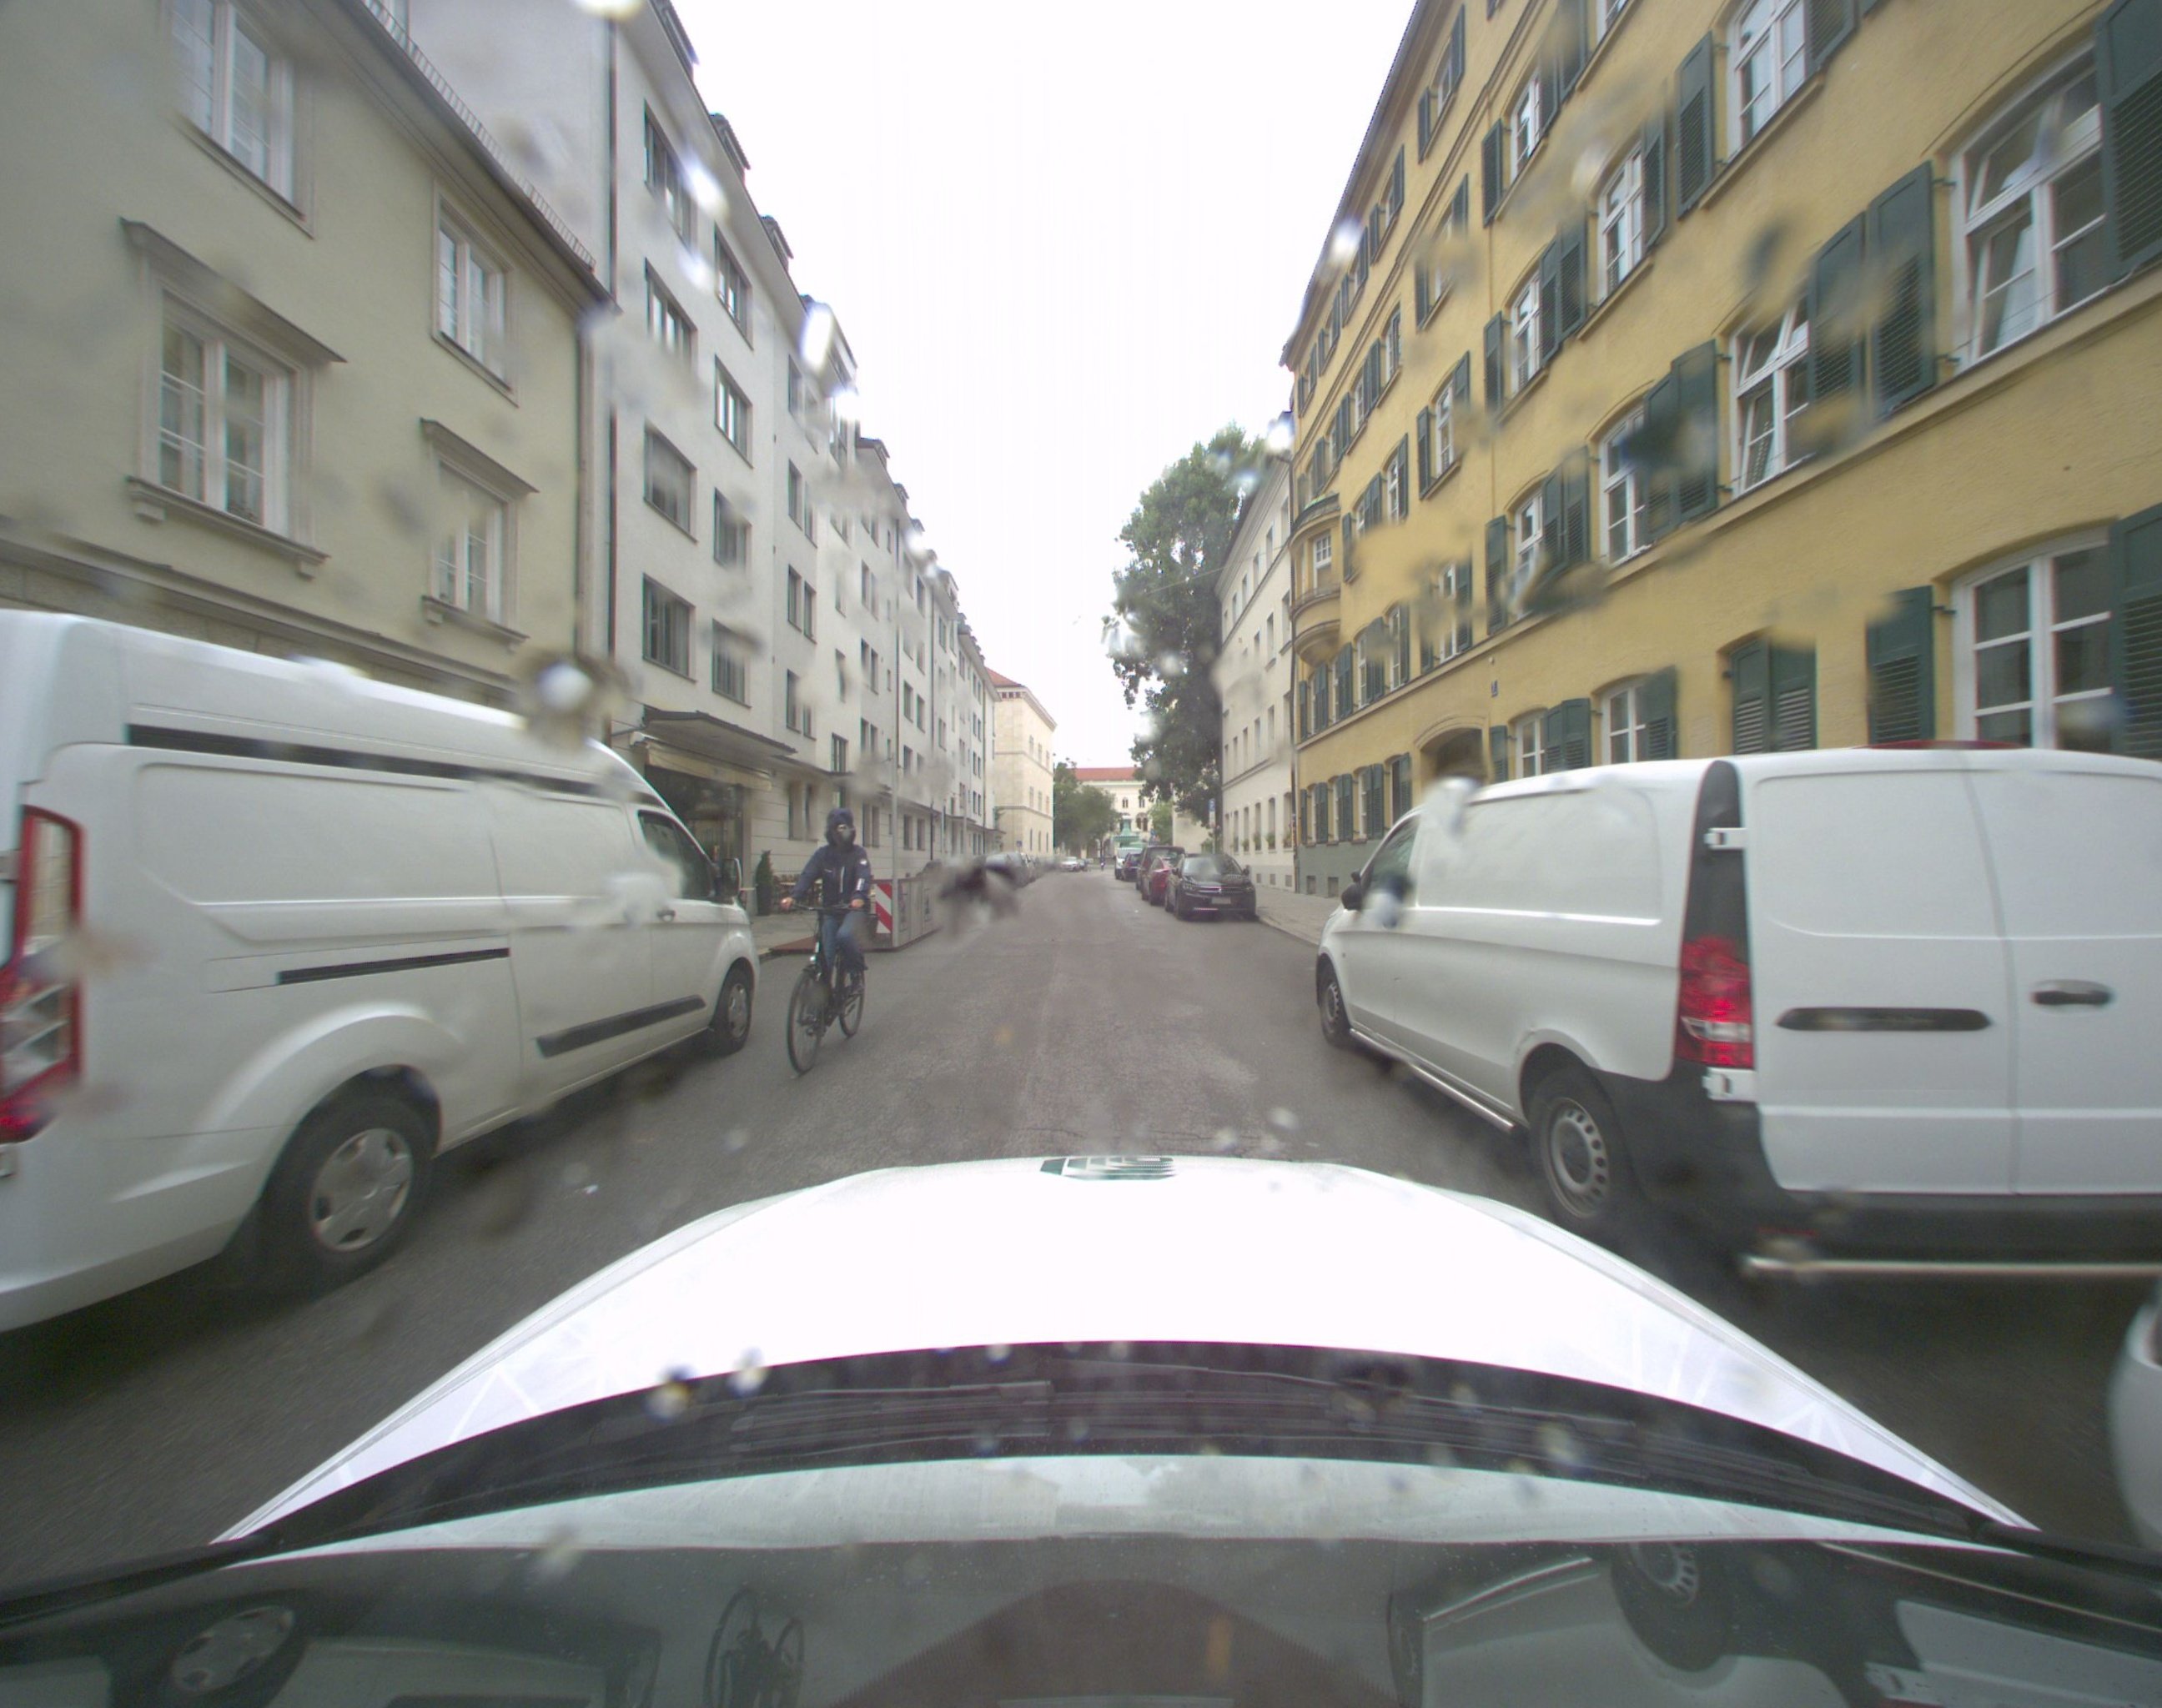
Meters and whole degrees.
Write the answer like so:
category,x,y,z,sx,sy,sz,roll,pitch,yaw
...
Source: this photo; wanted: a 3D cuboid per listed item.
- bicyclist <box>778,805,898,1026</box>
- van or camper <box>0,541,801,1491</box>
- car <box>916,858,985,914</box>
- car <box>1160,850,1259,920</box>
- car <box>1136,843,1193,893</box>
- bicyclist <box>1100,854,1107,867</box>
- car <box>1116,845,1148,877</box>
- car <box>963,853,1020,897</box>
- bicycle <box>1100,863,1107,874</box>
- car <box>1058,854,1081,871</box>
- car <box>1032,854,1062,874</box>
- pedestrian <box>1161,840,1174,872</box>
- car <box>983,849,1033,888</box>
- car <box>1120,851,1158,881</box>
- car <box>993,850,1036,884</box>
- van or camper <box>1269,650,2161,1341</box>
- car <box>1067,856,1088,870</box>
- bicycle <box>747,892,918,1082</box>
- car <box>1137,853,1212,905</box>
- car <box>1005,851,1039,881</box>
category,x,y,z,sx,sy,sz,roll,pitch,yaw
bicyclist,-1.898,0.454,6.466,0.684,1.627,0.852,-1,0,-1
van or camper,-3.585,0.402,4.707,1.987,2.311,5.478,-1,0,0
car,-3.594,0.831,23.038,1.637,1.354,4.050,-3,0,-6
car,2.958,0.658,19.471,1.740,1.464,4.000,-1,0,0
car,3.180,0.524,31.710,1.840,1.776,4.202,1,-1,1
bicyclist,2.552,0.740,92.850,0.654,1.551,0.888,-2,-1,3
car,3.199,0.433,51.759,1.874,1.924,4.878,-1,0,3
car,-3.555,0.796,32.935,1.768,1.539,4.158,-3,0,0
bicycle,2.559,1.622,92.816,0.646,1.197,1.952,-2,0,3
car,-1.100,0.874,81.127,1.770,1.535,4.217,-3,-1,5
car,-2.701,0.812,65.872,1.742,1.453,4.022,-3,0,6
pedestrian,5.946,0.125,56.047,0.791,2.197,0.813,-1,0,0
car,-3.401,0.633,38.667,1.866,1.688,4.519,-3,0,0
car,3.215,0.651,45.803,1.802,1.600,4.213,0,0,-1
car,-3.557,0.665,44.161,1.866,1.658,4.590,-3,0,0
van or camper,2.801,0.395,5.045,1.987,2.013,5.231,-1,0,-1
car,-0.349,0.991,87.487,1.690,1.393,4.218,-3,-1,6
bicycle,-1.850,0.931,6.418,0.730,1.151,1.999,-1,0,-1
car,2.765,0.707,24.965,1.708,1.424,4.456,-1,0,-1
car,-3.600,0.712,50.064,1.868,1.658,4.586,-3,0,-2
